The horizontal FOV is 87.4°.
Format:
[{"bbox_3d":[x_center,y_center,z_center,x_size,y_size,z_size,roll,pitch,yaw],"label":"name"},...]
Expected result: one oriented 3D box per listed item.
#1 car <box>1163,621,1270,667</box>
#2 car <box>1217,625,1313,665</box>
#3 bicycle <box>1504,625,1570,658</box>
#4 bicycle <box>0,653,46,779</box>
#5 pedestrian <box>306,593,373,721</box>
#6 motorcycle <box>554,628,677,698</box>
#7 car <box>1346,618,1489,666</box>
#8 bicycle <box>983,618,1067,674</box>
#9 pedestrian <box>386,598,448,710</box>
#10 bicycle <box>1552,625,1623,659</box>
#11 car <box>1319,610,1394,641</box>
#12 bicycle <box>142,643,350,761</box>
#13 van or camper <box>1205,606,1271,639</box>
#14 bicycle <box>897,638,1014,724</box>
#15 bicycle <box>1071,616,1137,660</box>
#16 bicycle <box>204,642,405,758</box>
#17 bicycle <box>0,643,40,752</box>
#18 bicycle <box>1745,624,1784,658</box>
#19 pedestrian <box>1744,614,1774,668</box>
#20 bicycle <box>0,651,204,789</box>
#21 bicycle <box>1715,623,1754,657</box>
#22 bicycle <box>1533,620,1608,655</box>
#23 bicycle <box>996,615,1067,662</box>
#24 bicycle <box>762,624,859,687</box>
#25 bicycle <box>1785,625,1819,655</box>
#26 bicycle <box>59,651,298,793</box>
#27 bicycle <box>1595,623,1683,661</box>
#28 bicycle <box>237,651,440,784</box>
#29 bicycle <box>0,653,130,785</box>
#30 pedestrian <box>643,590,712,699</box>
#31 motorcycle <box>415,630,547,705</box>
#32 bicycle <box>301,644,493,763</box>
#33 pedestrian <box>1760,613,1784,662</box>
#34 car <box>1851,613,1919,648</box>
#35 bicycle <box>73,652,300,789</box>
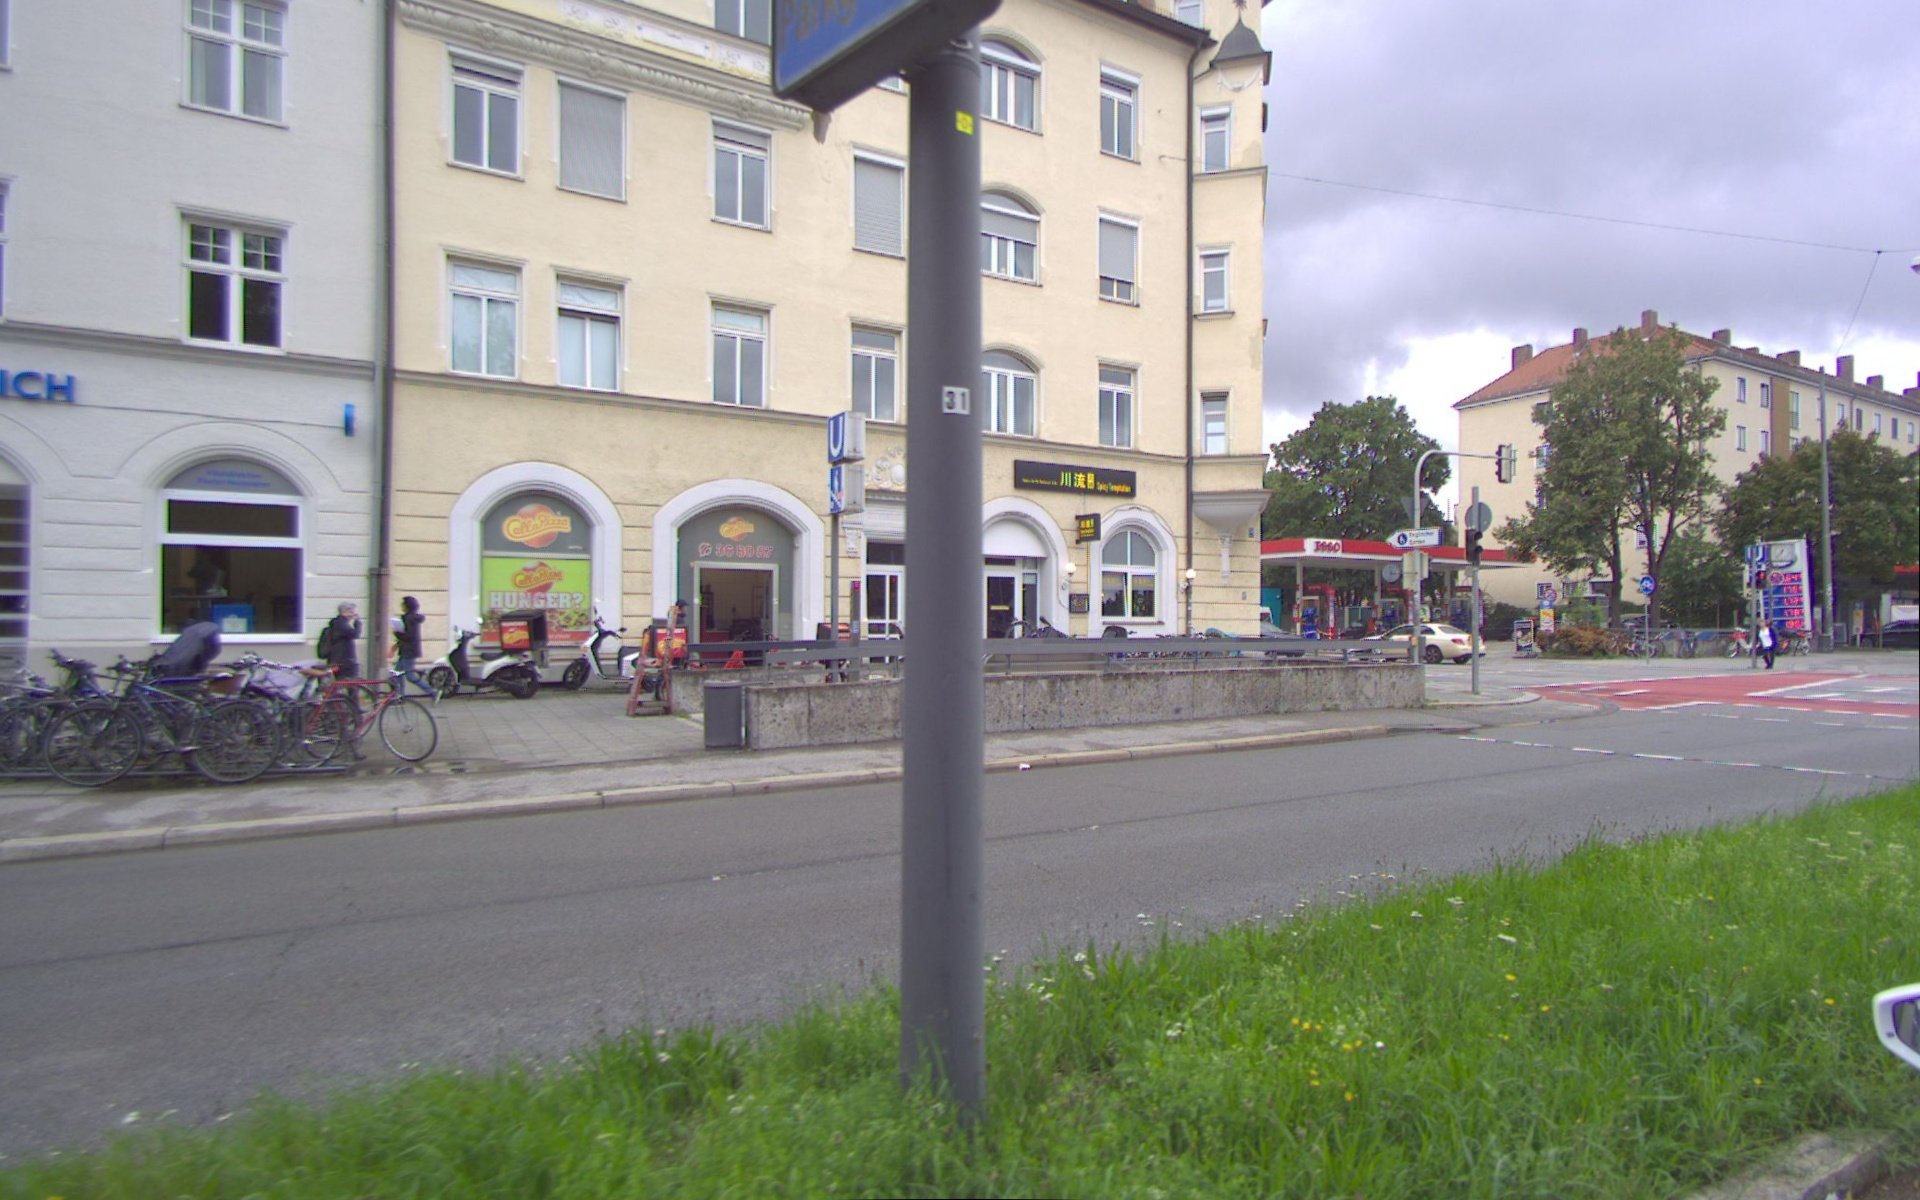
[{"bbox_3d":[9.058,1.529,35.746,1.645,1.537,3.600,1,-1,-32],"label":"car"},{"bbox_3d":[11.769,1.718,38.946,1.642,1.430,3.535,1,-1,-26],"label":"car"},{"bbox_3d":[22.968,1.624,40.034,0.759,1.252,2.163,1,-1,-38],"label":"bicycle"},{"bbox_3d":[-9.212,1.063,8.847,0.376,1.130,1.674,0,-1,37],"label":"bicycle"},{"bbox_3d":[-8.607,0.770,13.952,0.762,1.719,0.540,1,-1,-31],"label":"pedestrian"},{"bbox_3d":[-5.950,1.076,17.383,1.947,1.137,0.610,1,0,11],"label":"motorcycle"},{"bbox_3d":[16.915,1.506,37.393,1.764,1.668,4.742,1,-1,-30],"label":"car"},{"bbox_3d":[1.182,0.819,18.219,1.526,0.993,0.470,1,-1,-30],"label":"bicycle"},{"bbox_3d":[-8.197,0.809,15.172,0.772,1.653,0.420,0,-1,-24],"label":"pedestrian"},{"bbox_3d":[23.960,1.589,38.377,0.760,1.252,2.161,1,-1,-40],"label":"bicycle"},{"bbox_3d":[23.770,1.526,60.286,1.835,1.808,3.969,1,-1,-29],"label":"car"},{"bbox_3d":[-7.669,1.056,10.881,0.390,1.130,1.807,0,-1,37],"label":"bicycle"},{"bbox_3d":[20.002,1.614,72.489,1.899,2.354,4.509,1,-1,-33],"label":"van or camper"},{"bbox_3d":[-0.034,1.114,14.186,1.798,1.130,0.392,1,-1,-38],"label":"bicycle"},{"bbox_3d":[3.314,0.857,23.043,1.526,0.993,0.470,1,-1,-30],"label":"bicycle"},{"bbox_3d":[-7.073,1.039,10.937,0.390,1.130,1.807,0,-1,37],"label":"bicycle"},{"bbox_3d":[-10.476,1.016,10.171,0.325,1.130,1.674,0,-1,37],"label":"bicycle"},{"bbox_3d":[30.488,1.521,38.044,2.166,1.252,0.604,1,-1,-36],"label":"bicycle"},{"bbox_3d":[25.665,1.319,32.273,0.568,1.718,0.534,0,-1,-18],"label":"pedestrian"},{"bbox_3d":[-7.981,1.061,9.178,0.361,1.130,1.674,0,-1,37],"label":"bicycle"},{"bbox_3d":[29.468,1.517,38.213,2.166,1.252,0.604,1,-1,-36],"label":"bicycle"},{"bbox_3d":[24.032,1.454,39.575,0.785,1.267,2.374,1,1,-39],"label":"bicycle"},{"bbox_3d":[1.540,0.814,21.605,1.526,0.993,0.470,1,-1,-30],"label":"bicycle"},{"bbox_3d":[-2.459,0.898,16.580,1.526,0.993,0.470,1,-1,-30],"label":"bicycle"},{"bbox_3d":[33.873,1.610,40.395,1.947,1.160,0.604,1,-1,-36],"label":"bicycle"},{"bbox_3d":[-7.037,1.051,9.128,0.362,1.130,1.674,0,-1,37],"label":"bicycle"},{"bbox_3d":[25.491,1.551,37.787,2.665,1.267,0.792,2,1,31],"label":"bicycle"},{"bbox_3d":[-5.972,1.087,9.746,0.325,1.130,1.674,0,-1,37],"label":"bicycle"},{"bbox_3d":[-8.595,1.076,9.066,0.325,1.130,1.674,0,-1,37],"label":"bicycle"},{"bbox_3d":[-4.615,0.716,16.429,0.583,1.719,0.943,0,-1,33],"label":"pedestrian"},{"bbox_3d":[-7.830,1.088,16.420,1.947,1.145,0.610,1,0,11],"label":"motorcycle"},{"bbox_3d":[-6.020,1.068,10.852,0.390,1.130,1.807,0,-1,37],"label":"bicycle"},{"bbox_3d":[28.689,1.303,35.485,0.581,1.718,0.576,0,-1,30],"label":"pedestrian"},{"bbox_3d":[50.576,1.612,53.771,1.859,1.862,3.966,1,-1,-31],"label":"car"},{"bbox_3d":[-7.246,1.086,9.497,0.325,1.130,1.674,0,-1,37],"label":"bicycle"}]
